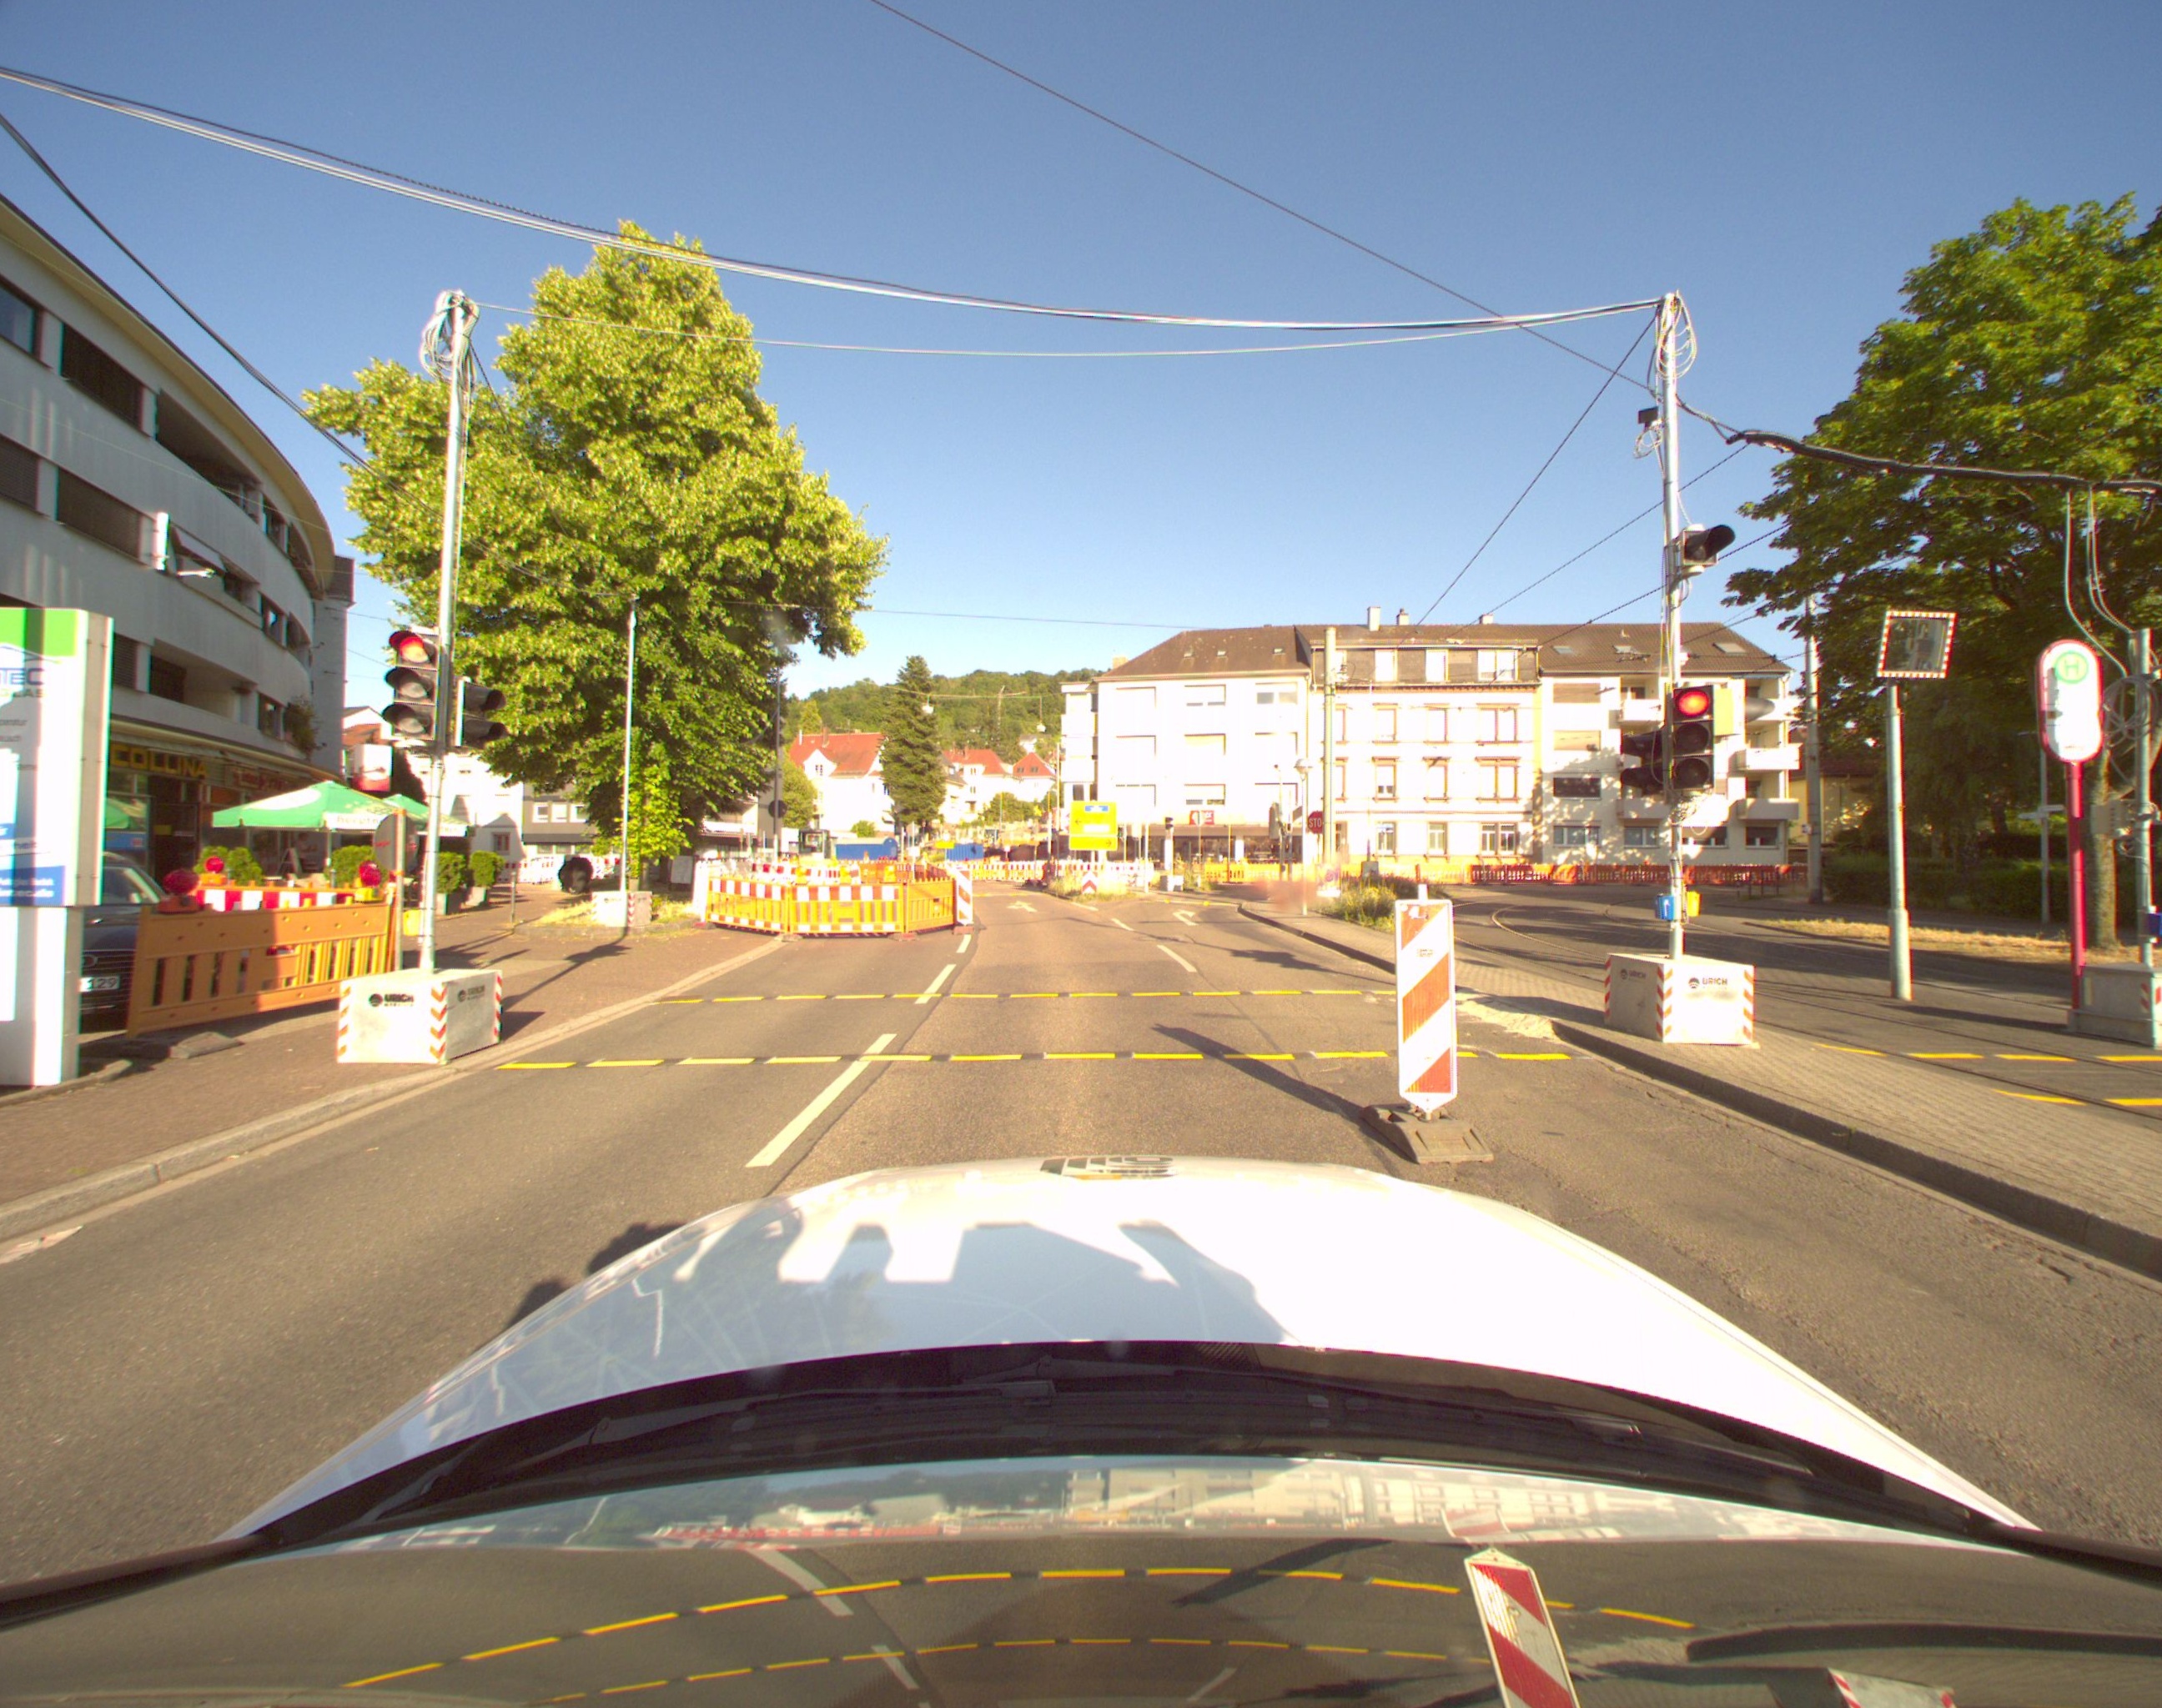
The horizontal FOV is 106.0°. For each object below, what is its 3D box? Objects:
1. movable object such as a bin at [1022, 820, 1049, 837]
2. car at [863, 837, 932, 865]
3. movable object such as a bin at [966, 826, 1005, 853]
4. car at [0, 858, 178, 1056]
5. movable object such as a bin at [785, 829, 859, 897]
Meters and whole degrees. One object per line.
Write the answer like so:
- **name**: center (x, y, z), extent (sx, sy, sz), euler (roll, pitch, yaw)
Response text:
- **movable object such as a bin**: center (-6.429, -3.580, 115.288), extent (2.549, 2.122, 5.801), euler (-1, -1, 11)
- **car**: center (-14.931, -0.217, 66.695), extent (2.562, 2.121, 6.181), euler (-1, -1, 20)
- **movable object such as a bin**: center (-9.248, -1.337, 79.388), extent (1.932, 2.494, 4.574), euler (-1, -1, 20)
- **car**: center (-9.320, 0.784, 7.304), extent (3.835, 1.438, 1.606), euler (-1, 0, 42)
- **movable object such as a bin**: center (-9.405, 0.307, 29.869), extent (1.643, 2.324, 3.916), euler (0, 0, -3)
